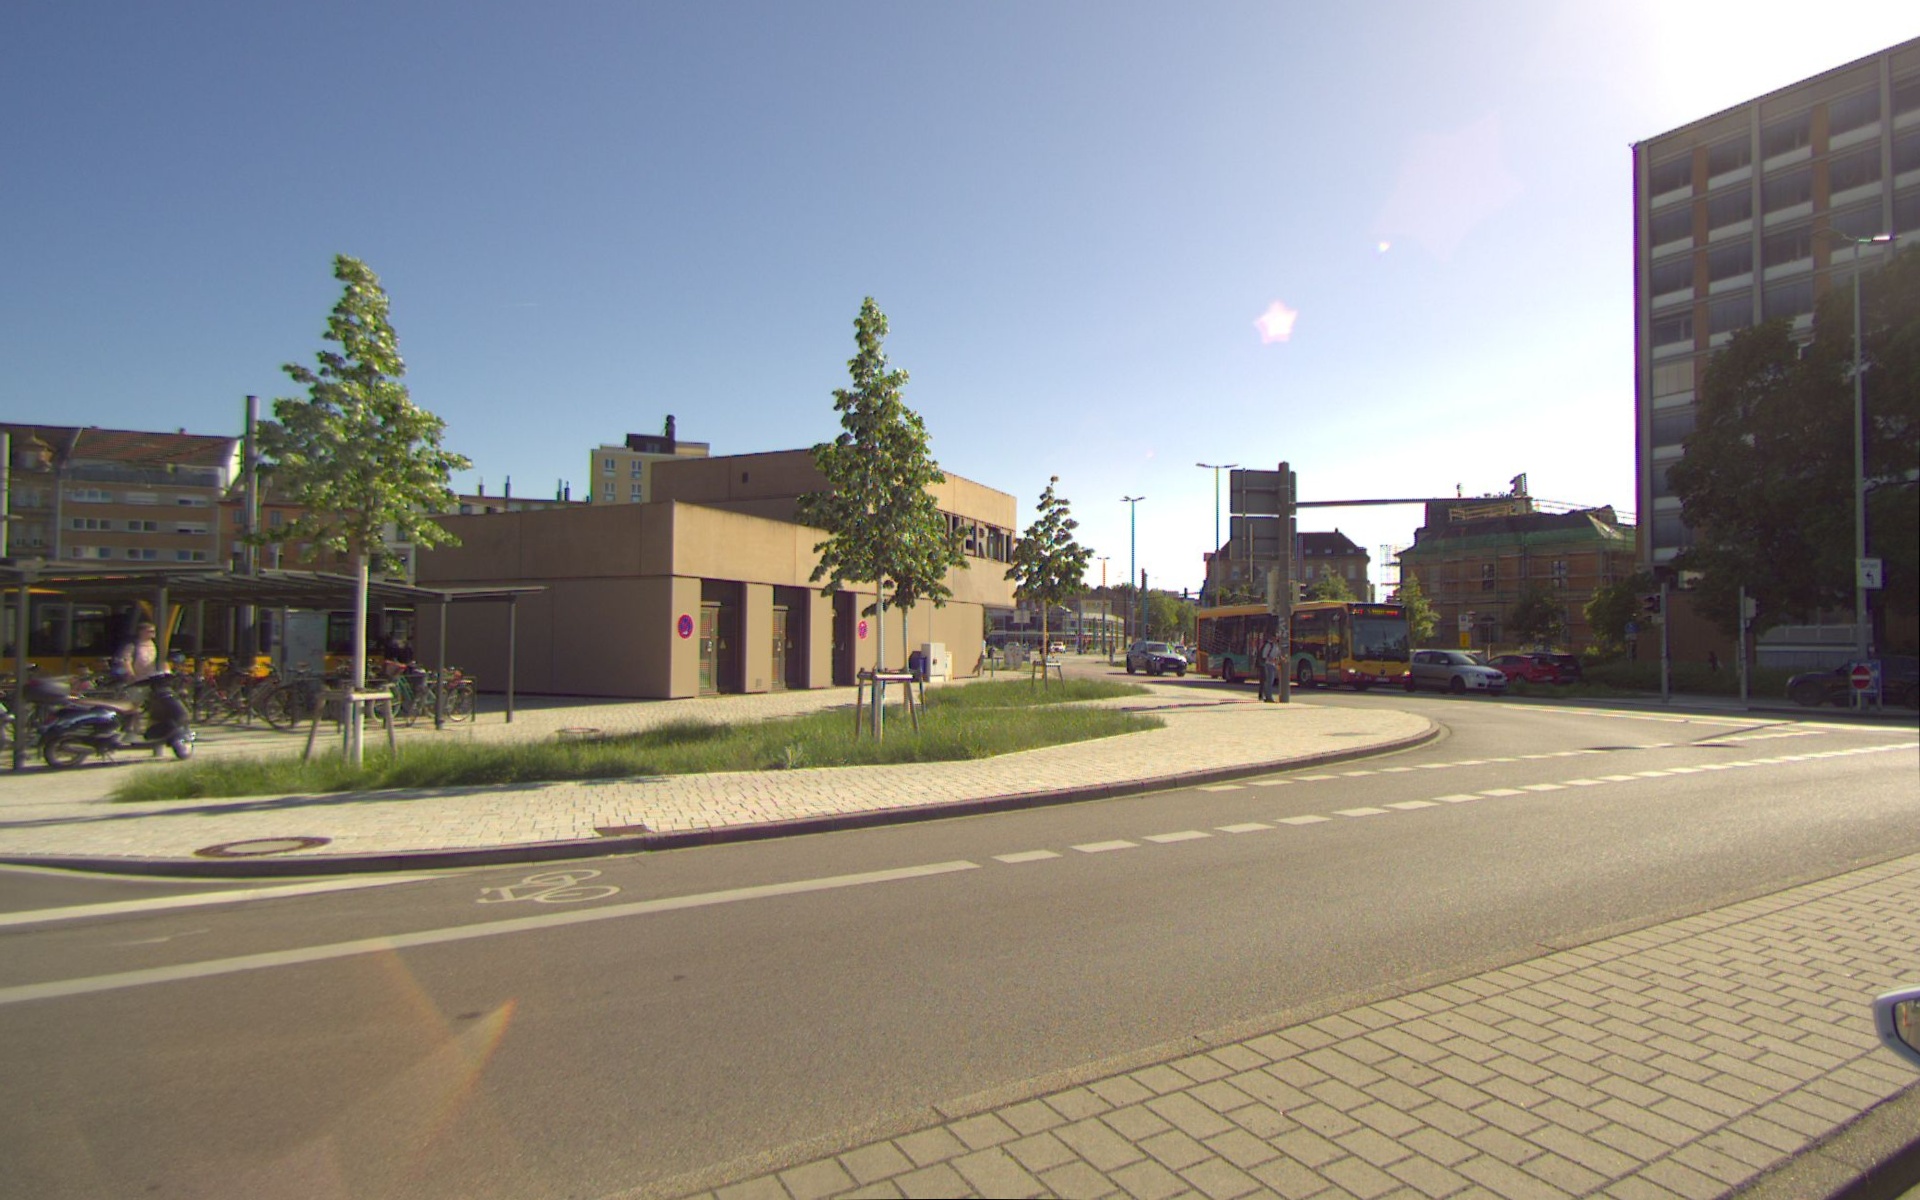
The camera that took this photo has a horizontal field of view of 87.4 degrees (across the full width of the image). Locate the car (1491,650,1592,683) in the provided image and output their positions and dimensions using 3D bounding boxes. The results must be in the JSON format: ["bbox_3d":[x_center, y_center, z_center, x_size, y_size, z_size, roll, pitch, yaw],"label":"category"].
[{"bbox_3d":[28.337,3.216,49.076,2.031,1.458,4.047,1,-2,-14],"label":"car"}]

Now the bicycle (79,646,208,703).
[{"bbox_3d":[-15.689,1.410,19.350,0.617,1.021,1.828,0,-2,27],"label":"bicycle"}]

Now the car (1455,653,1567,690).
[{"bbox_3d":[23.998,3.100,43.905,2.032,1.458,4.044,1,-2,-17],"label":"car"}]

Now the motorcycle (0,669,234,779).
[{"bbox_3d":[-10.616,1.493,12.659,0.599,1.173,2.360,0,-2,25],"label":"motorcycle"}]

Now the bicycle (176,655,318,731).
[{"bbox_3d":[-12.585,1.615,17.812,0.496,1.225,2.051,0,-2,26],"label":"bicycle"}]

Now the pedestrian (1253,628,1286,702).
[{"bbox_3d":[7.952,1.654,25.840,0.594,1.880,0.681,1,-2,-7],"label":"pedestrian"}]

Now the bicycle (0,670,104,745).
[{"bbox_3d":[-13.801,1.566,14.696,0.617,1.021,1.829,0,-2,25],"label":"bicycle"}]

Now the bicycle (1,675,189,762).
[{"bbox_3d":[-11.734,1.574,13.704,0.617,1.021,1.829,0,-2,25],"label":"bicycle"}]

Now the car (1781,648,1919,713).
[{"bbox_3d":[27.784,2.425,29.772,1.969,1.694,5.026,4,-1,-18],"label":"car"}]

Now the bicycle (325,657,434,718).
[{"bbox_3d":[-11.442,1.701,19.872,0.617,1.107,1.829,0,-2,25],"label":"bicycle"}]

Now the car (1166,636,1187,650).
[{"bbox_3d":[27.860,5.527,129.280,1.960,1.603,4.001,2,0,2],"label":"car"}]

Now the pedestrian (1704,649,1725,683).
[{"bbox_3d":[35.885,3.113,47.772,0.545,1.591,0.534,1,-2,-5],"label":"pedestrian"}]

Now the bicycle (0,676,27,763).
[{"bbox_3d":[-12.610,1.489,12.090,0.677,1.055,1.891,0,-2,27],"label":"bicycle"}]

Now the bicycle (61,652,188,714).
[{"bbox_3d":[-16.607,1.629,20.012,0.617,1.146,1.828,0,-2,27],"label":"bicycle"}]

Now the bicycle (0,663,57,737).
[{"bbox_3d":[-14.968,1.534,15.195,0.617,1.094,1.829,0,-2,25],"label":"bicycle"}]

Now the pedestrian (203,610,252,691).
[{"bbox_3d":[-17.464,1.194,23.966,0.738,1.880,0.709,1,-2,-19],"label":"pedestrian"}]

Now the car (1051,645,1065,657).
[{"bbox_3d":[14.579,7.546,149.267,1.865,1.728,4.003,0,-2,8],"label":"car"}]

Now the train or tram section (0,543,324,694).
[{"bbox_3d":[-23.828,0.523,26.540,2.779,3.648,12.320,0,-2,24],"label":"train or tram section"}]

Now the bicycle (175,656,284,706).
[{"bbox_3d":[-15.954,1.751,21.987,0.617,1.021,1.829,0,-2,25],"label":"bicycle"}]

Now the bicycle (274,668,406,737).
[{"bbox_3d":[-10.368,1.692,16.866,0.617,1.021,1.828,0,-2,27],"label":"bicycle"}]

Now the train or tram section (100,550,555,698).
[{"bbox_3d":[-18.371,0.817,30.986,2.702,3.648,12.318,0,-2,25],"label":"train or tram section"}]

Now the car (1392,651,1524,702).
[{"bbox_3d":[17.013,2.600,34.524,1.863,1.421,3.841,4,-2,-19],"label":"car"}]

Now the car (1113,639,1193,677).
[{"bbox_3d":[10.154,3.008,53.170,1.975,1.885,4.720,1,-2,-21],"label":"car"}]

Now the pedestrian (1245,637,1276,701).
[{"bbox_3d":[8.100,1.854,27.111,0.594,1.719,0.634,1,-2,-7],"label":"pedestrian"}]

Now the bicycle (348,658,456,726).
[{"bbox_3d":[-10.438,1.689,18.867,0.616,1.161,1.831,0,-2,18],"label":"bicycle"}]

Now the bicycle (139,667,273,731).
[{"bbox_3d":[-13.561,1.758,18.121,0.617,1.021,1.828,0,-2,27],"label":"bicycle"}]

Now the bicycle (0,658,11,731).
[{"bbox_3d":[-16.124,1.502,15.649,0.617,1.176,1.829,0,-2,25],"label":"bicycle"}]

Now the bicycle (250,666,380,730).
[{"bbox_3d":[-11.311,1.694,17.683,0.492,1.010,1.887,0,-2,31],"label":"bicycle"}]

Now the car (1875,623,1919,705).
[{"bbox_3d":[32.347,1.978,30.004,2.962,2.580,6.938,1,-2,-15],"label":"car"}]

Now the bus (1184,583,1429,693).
[{"bbox_3d":[12.890,1.474,39.394,3.193,3.617,12.437,1,-2,-12],"label":"bus"}]

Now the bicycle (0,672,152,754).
[{"bbox_3d":[-12.817,1.573,14.255,0.617,1.021,2.026,0,-2,25],"label":"bicycle"}]

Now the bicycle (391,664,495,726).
[{"bbox_3d":[-9.519,1.722,18.567,0.616,1.021,1.832,0,-2,16],"label":"bicycle"}]

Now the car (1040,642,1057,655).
[{"bbox_3d":[12.552,6.822,141.756,1.959,1.814,4.003,0,-2,12],"label":"car"}]

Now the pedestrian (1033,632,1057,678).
[{"bbox_3d":[3.474,2.241,41.016,0.826,1.869,0.866,1,-2,-7],"label":"pedestrian"}]

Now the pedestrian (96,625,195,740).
[{"bbox_3d":[-12.820,1.265,15.812,1.005,1.727,0.838,0,-2,26],"label":"pedestrian"}]
